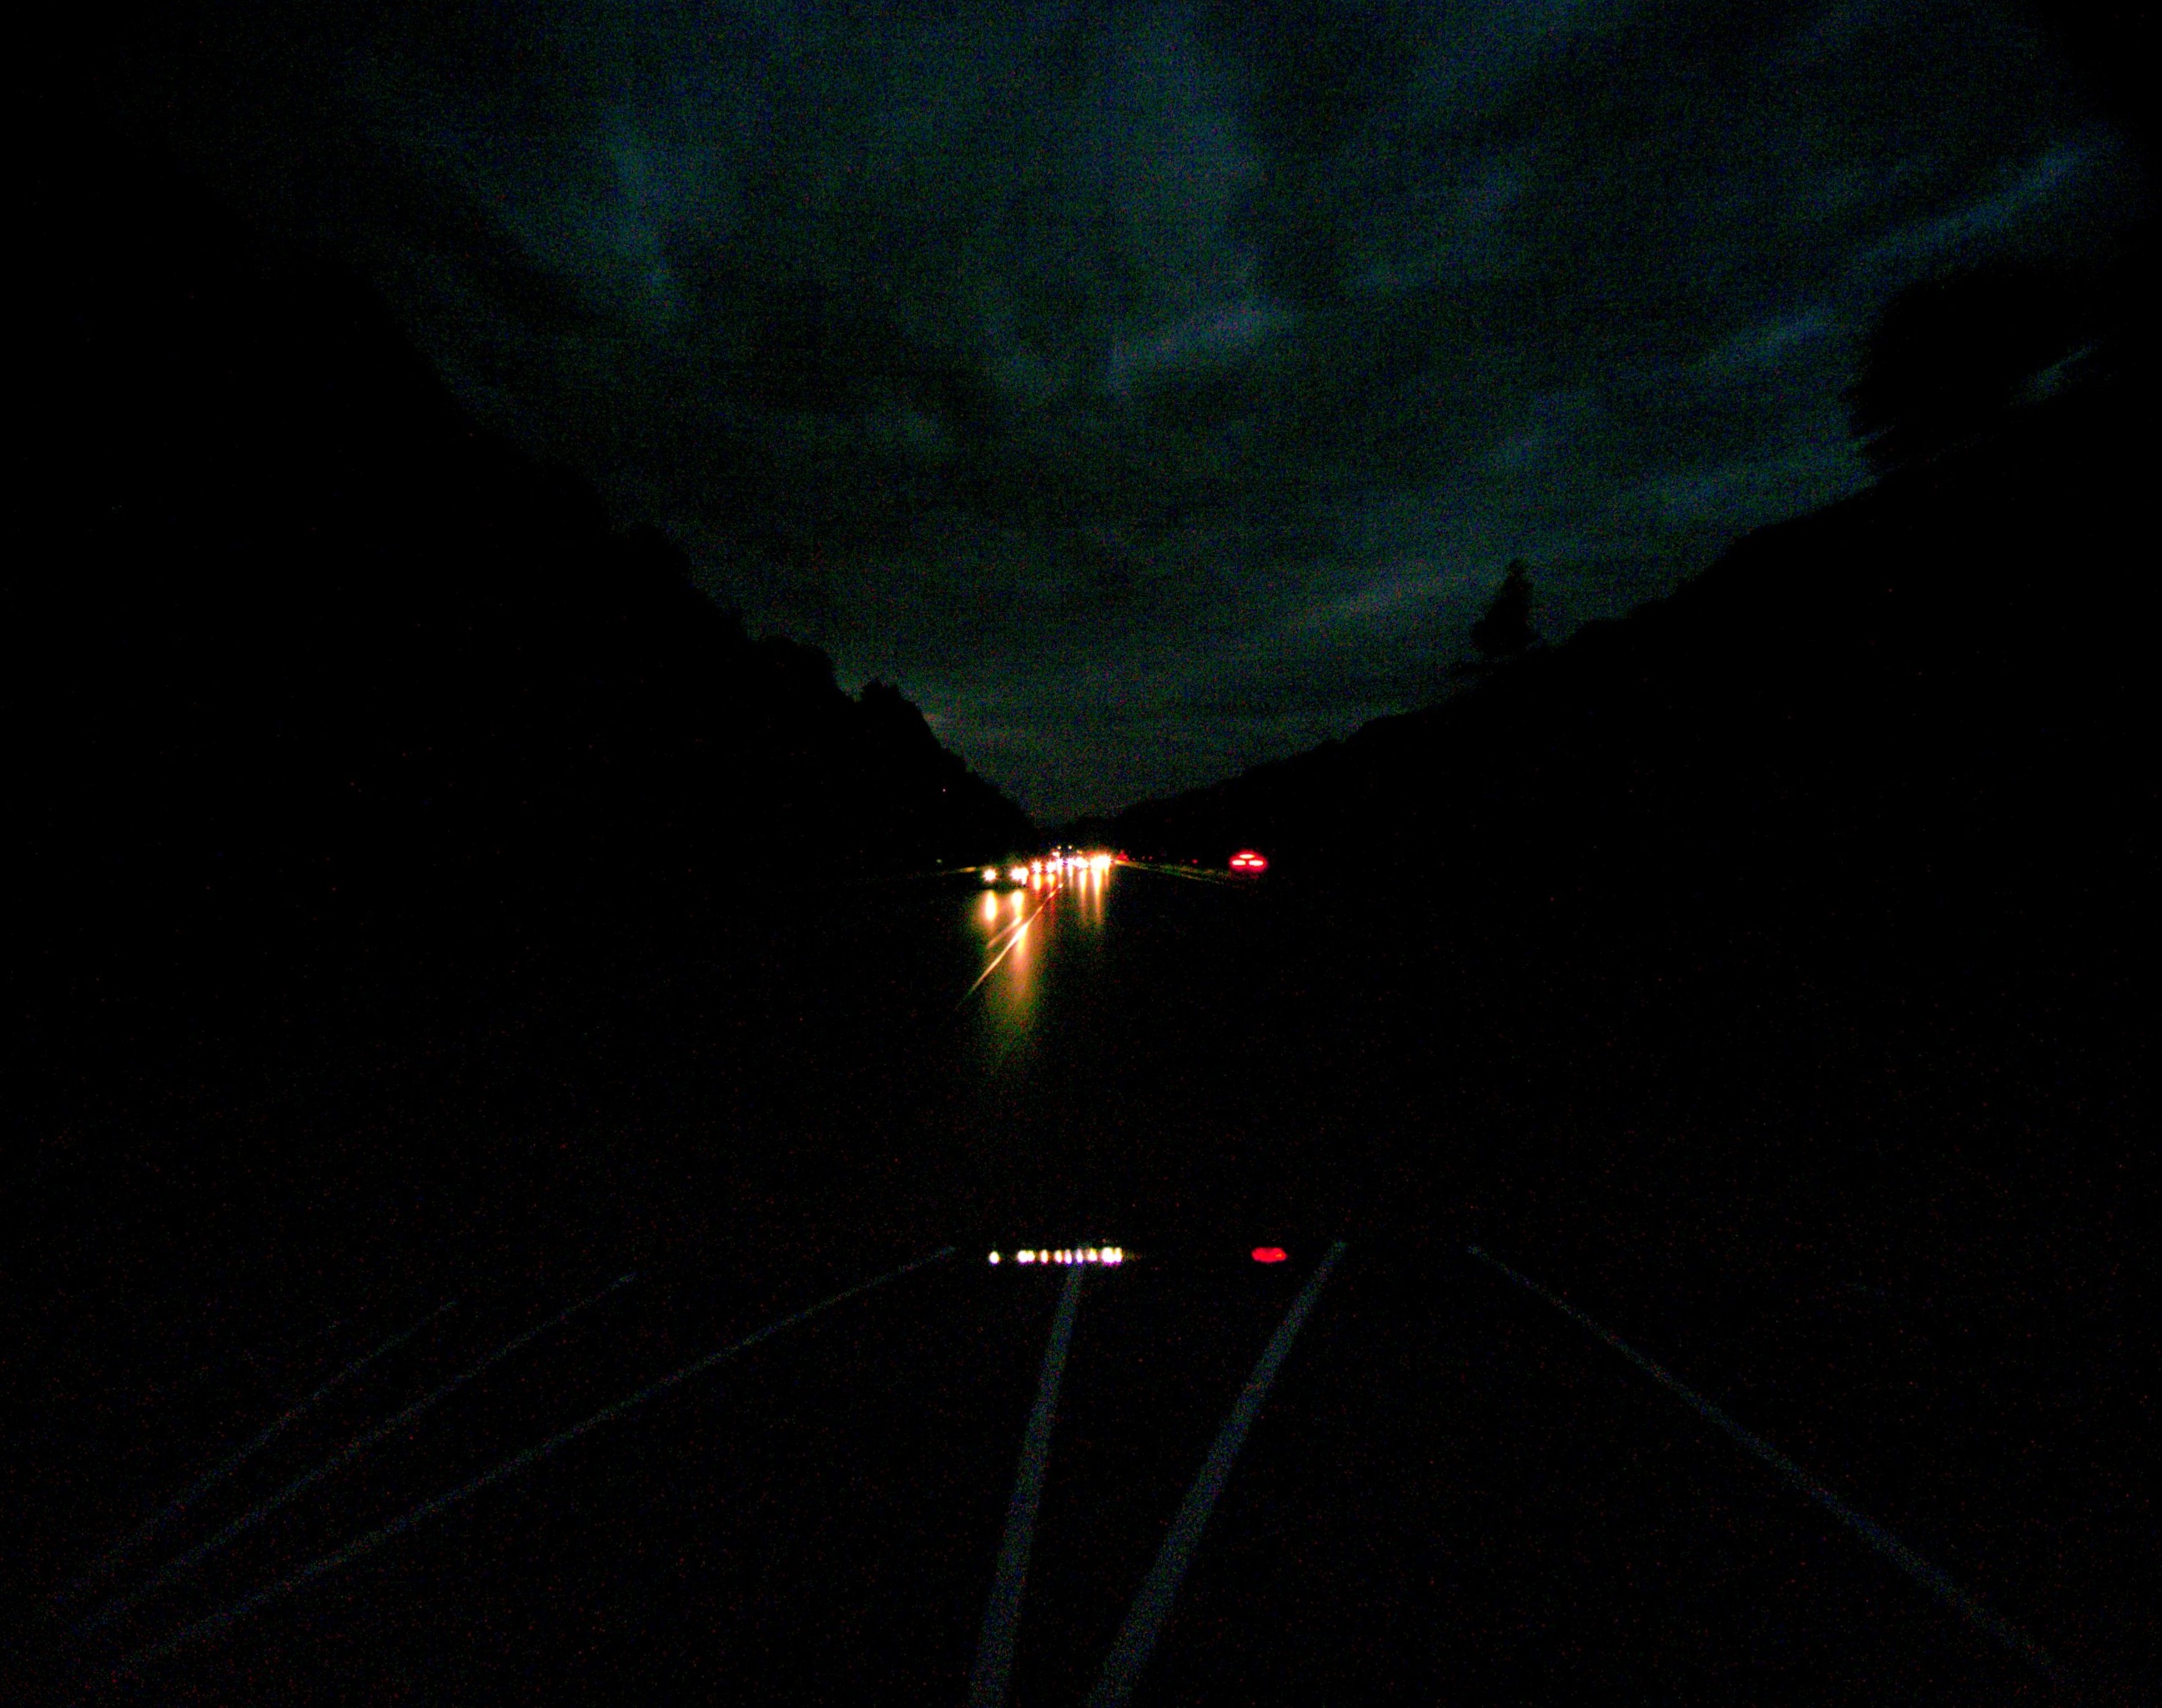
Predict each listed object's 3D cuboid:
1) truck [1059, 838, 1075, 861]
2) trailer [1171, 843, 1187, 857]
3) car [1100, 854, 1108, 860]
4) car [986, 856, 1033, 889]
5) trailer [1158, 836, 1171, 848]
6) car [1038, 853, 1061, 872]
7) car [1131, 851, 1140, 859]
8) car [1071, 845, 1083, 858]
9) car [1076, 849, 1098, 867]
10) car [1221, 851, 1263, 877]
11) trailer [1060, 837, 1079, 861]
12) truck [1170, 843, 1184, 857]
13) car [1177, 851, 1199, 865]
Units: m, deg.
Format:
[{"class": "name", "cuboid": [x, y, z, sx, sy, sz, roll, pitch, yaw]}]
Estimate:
[{"class": "truck", "cuboid": [-2.463, -0.819, 134.494, 2.497, 3.946, 5.589, -2, 2, 2]}, {"class": "trailer", "cuboid": [28.788, -1.206, 224.167, 3.198, 4.081, 14.182, -2, 1, 2]}, {"class": "car", "cuboid": [5.530, 0.678, 181.391, 1.695, 1.481, 4.948, -1, 1, 1]}, {"class": "car", "cuboid": [-3.572, 0.887, 38.709, 1.870, 1.427, 4.583, -3, 1, 0]}, {"class": "trailer", "cuboid": [29.048, -4.116, 265.145, 3.199, 4.081, 13.739, -2, 1, 1]}, {"class": "car", "cuboid": [-2.994, 0.816, 72.930, 1.695, 1.480, 4.953, -3, -4, 3]}, {"class": "car", "cuboid": [14.566, 0.209, 203.206, 1.998, 2.002, 5.360, -1, 0, 2]}, {"class": "car", "cuboid": [-1.154, -0.662, 222.402, 2.998, 3.659, 9.999, -1, 1, 1]}, {"class": "car", "cuboid": [0.623, 0.341, 78.531, 1.869, 1.701, 4.584, -2, 1, 5]}, {"class": "car", "cuboid": [12.065, 0.710, 57.225, 1.935, 1.920, 5.111, 0, 0, -1]}, {"class": "trailer", "cuboid": [-2.072, -1.039, 141.781, 2.488, 4.050, 13.504, -2, 2, 3]}, {"class": "truck", "cuboid": [29.139, -1.263, 230.522, 3.198, 4.081, 7.689, -2, 1, 2]}, {"class": "car", "cuboid": [12.435, 0.476, 88.577, 1.921, 1.603, 5.159, 0, 0, 1]}]
